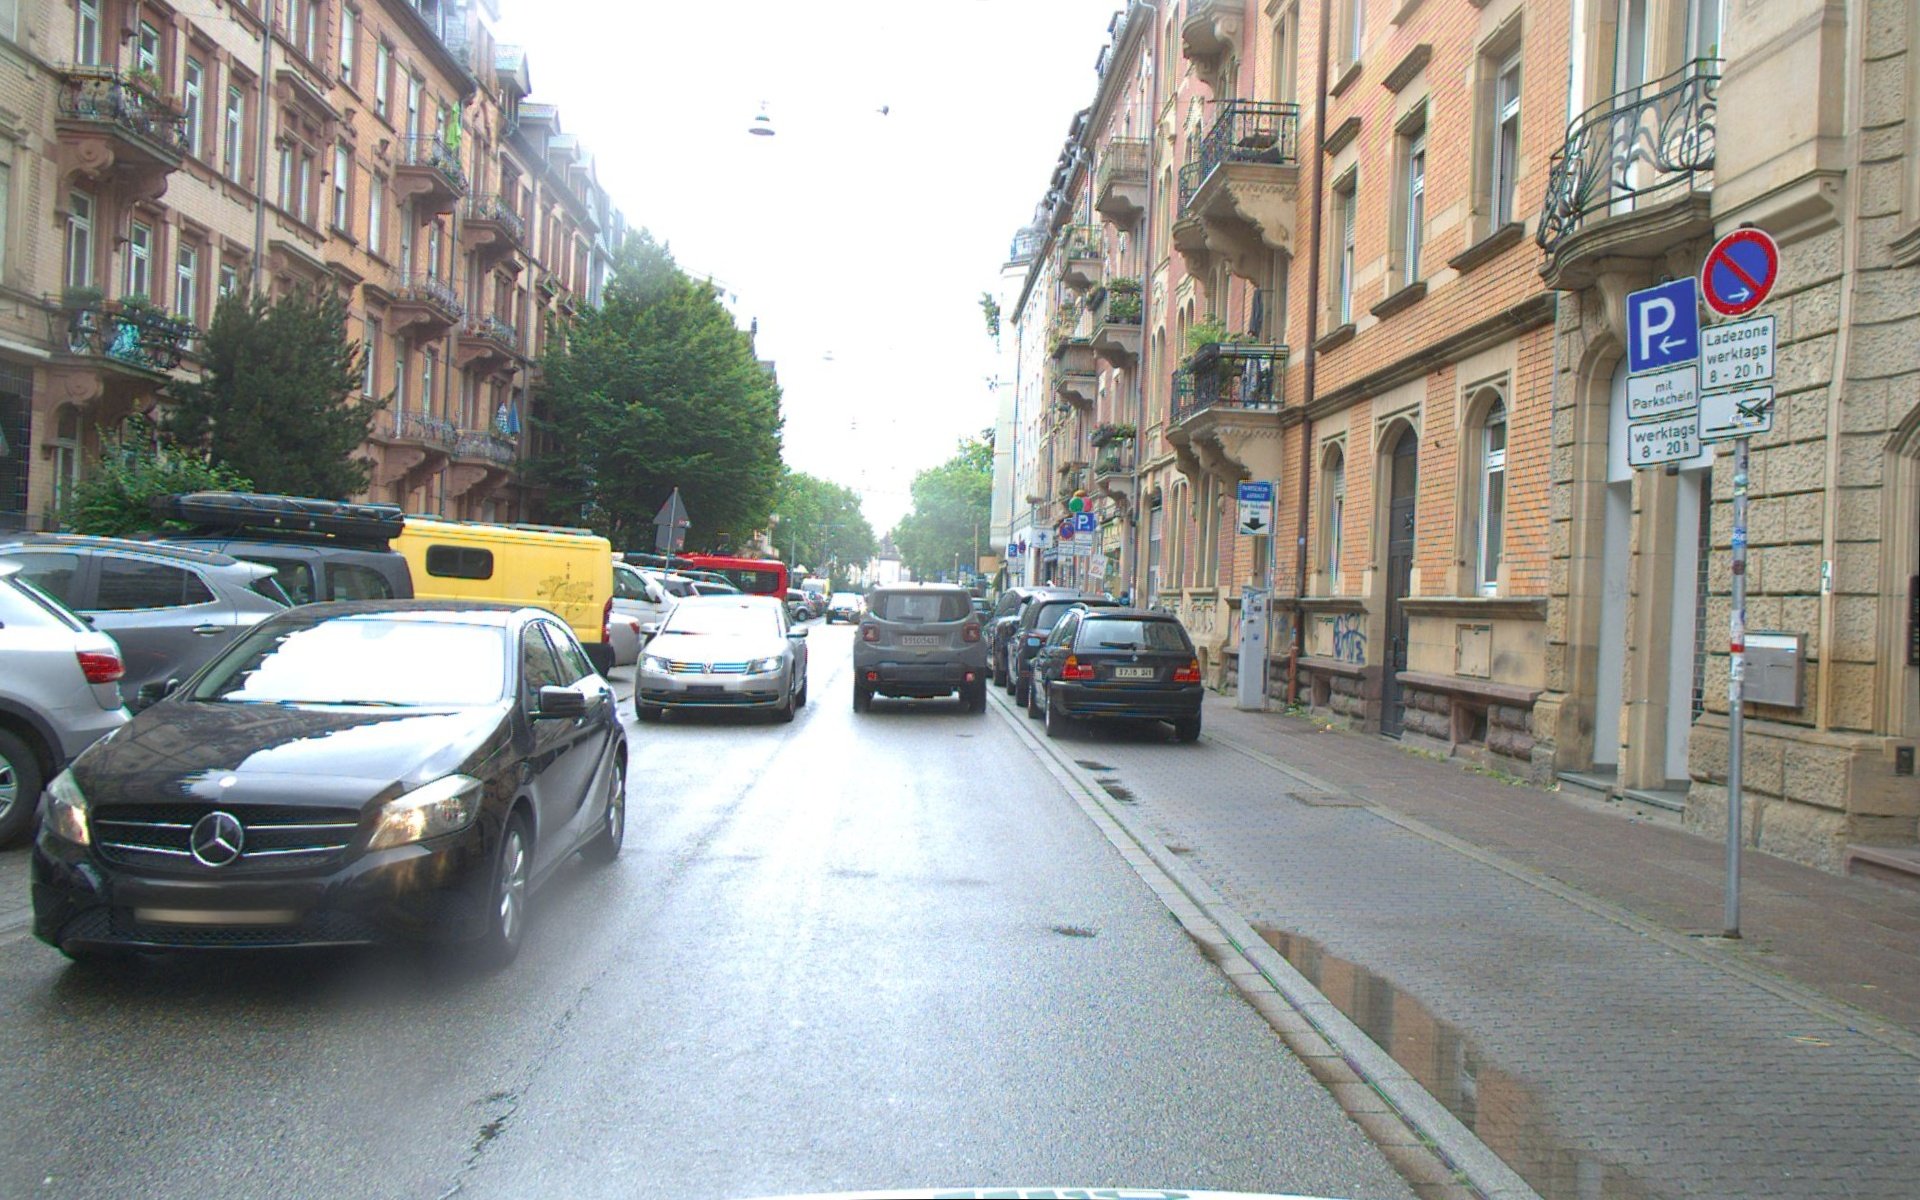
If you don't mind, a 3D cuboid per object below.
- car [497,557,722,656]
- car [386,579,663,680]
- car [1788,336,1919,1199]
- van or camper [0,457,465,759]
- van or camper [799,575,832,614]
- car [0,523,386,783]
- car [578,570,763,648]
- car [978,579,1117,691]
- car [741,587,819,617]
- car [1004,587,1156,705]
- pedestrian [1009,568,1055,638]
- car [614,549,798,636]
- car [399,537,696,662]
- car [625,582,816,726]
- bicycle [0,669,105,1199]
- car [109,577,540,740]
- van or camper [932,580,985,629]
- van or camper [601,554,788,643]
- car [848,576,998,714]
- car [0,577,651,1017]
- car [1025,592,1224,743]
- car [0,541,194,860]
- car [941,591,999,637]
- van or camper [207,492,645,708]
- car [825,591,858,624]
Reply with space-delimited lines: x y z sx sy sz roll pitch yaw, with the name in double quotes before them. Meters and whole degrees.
"car" -7.827 0.136 37.377 4.488 1.816 2.544 5 0 -3
"car" -6.978 0.486 26.588 3.947 1.461 1.766 2 0 -31
"car" 2.710 0.568 0.518 1.954 1.973 5.225 1 0 -5
"van or camper" -6.749 0.137 14.626 4.036 2.278 1.914 5 -3 -35
"van or camper" -10.599 -0.387 121.647 2.079 2.575 6.870 -2 -2 -3
"car" -6.528 0.362 11.914 4.097 1.691 1.776 6 -3 -39
"car" -7.612 0.240 43.617 4.382 1.659 1.827 5 0 -29
"car" 1.476 0.578 29.883 1.954 1.810 4.823 1 0 -3
"car" -9.252 0.114 85.021 3.675 1.477 1.663 1 0 -38
"car" 1.705 0.618 24.762 1.833 1.589 4.343 1 0 -2
"pedestrian" 2.203 0.093 50.521 0.666 1.960 0.811 0 -28 33
"car" -8.323 -0.246 54.292 5.496 2.585 2.207 2 0 -30
"car" -7.855 0.020 31.639 5.174 2.114 1.854 3 -1 -27
"car" -2.903 0.588 20.961 1.759 1.519 4.583 2 1 -1
"bicycle" -2.557 0.806 3.185 0.755 1.201 2.268 1 1 -4
"car" -6.647 0.533 17.422 3.953 1.521 1.805 0 1 -35
"van or camper" -0.109 0.168 69.378 1.981 1.924 5.052 1 0 -3
"van or camper" -7.867 -0.049 49.032 4.953 2.390 2.323 2 0 -29
"car" -0.593 0.565 23.147 1.861 1.700 4.502 1 0 -3
"car" -2.638 0.666 7.829 1.759 1.520 4.136 0 0 -3
"car" 1.811 0.698 19.537 1.751 1.492 4.482 2 0 -2
"car" -6.521 0.418 8.751 4.097 1.691 1.776 6 -2 -39
"car" 0.329 0.475 59.953 1.804 1.572 4.001 1 0 -3
"van or camper" -6.610 0.035 20.654 4.672 2.307 2.159 4 0 -35
"car" -6.123 0.365 85.145 1.637 1.586 3.999 2 0 -5
